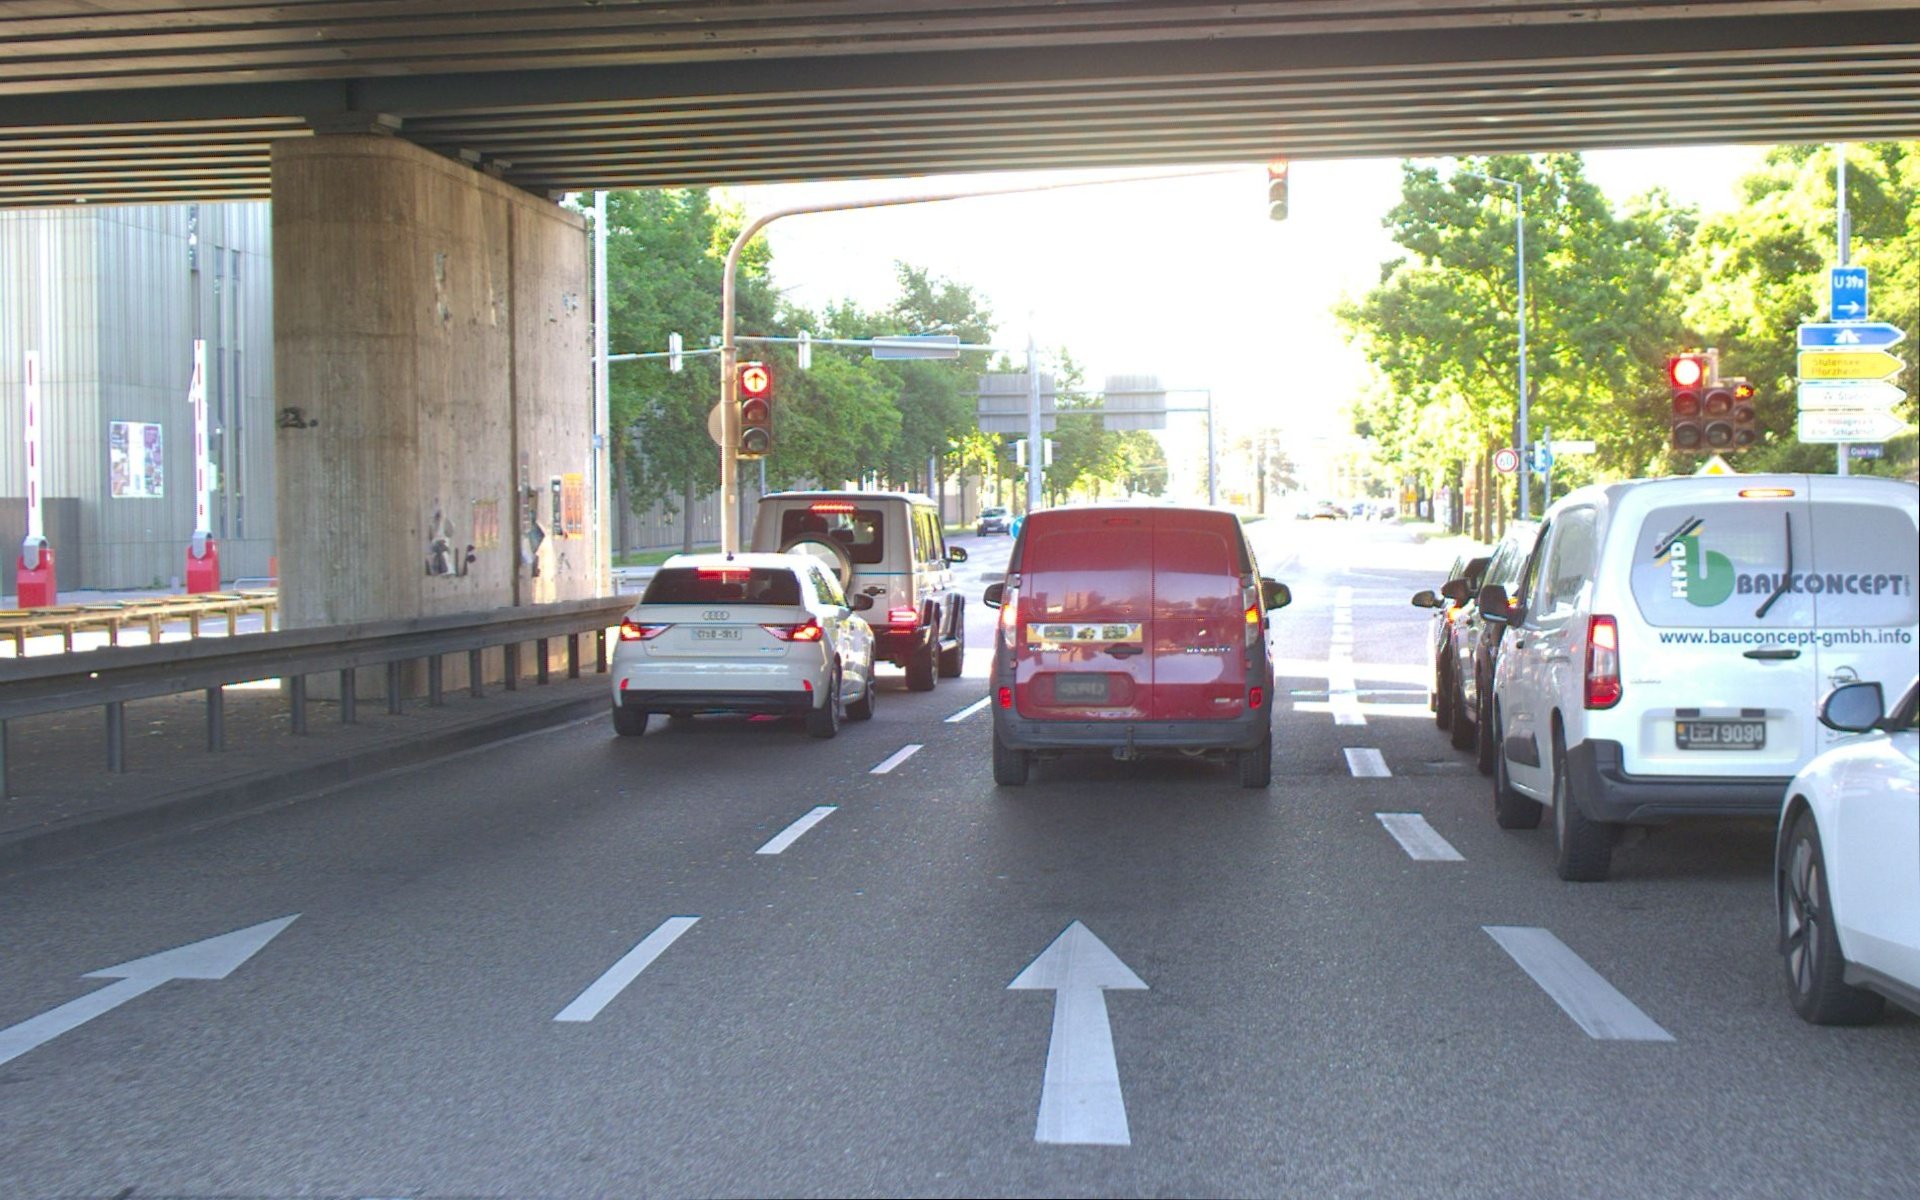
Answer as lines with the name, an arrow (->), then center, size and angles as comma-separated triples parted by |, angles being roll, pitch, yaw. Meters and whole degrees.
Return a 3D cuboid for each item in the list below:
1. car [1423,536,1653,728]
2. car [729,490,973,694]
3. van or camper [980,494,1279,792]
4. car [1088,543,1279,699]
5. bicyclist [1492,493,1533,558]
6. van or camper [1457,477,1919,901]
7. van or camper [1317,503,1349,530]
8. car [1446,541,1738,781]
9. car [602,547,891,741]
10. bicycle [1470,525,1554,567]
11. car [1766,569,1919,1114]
car -> 4.842, 0.227, 29.178 | 1.708, 1.515, 3.742 | 0, 1, 6
car -> -1.037, -0.112, 35.074 | 1.866, 1.940, 4.595 | 0, 1, 6
van or camper -> 1.210, 0.233, 22.872 | 1.754, 1.807, 3.958 | 0, 1, 6
car -> 2.336, 0.179, 35.068 | 1.763, 1.470, 4.288 | -1, 1, 6
bicyclist -> 13.728, -1.852, 85.413 | 0.923, 1.578, 0.769 | -3, 0, 10
van or camper -> 3.608, 0.352, 16.842 | 1.826, 1.785, 4.544 | 0, 1, 2
van or camper -> 26.517, -5.936, 244.260 | 1.786, 1.857, 3.906 | -3, 1, 12
car -> 4.280, 0.361, 23.725 | 1.708, 1.517, 3.742 | 0, 1, 6
car -> -1.640, 0.299, 27.614 | 1.708, 1.447, 3.742 | 0, 1, 6
bicycle -> 13.716, -1.339, 85.417 | 1.991, 0.957, 0.774 | -3, 0, 10
car -> 3.481, 0.672, 9.057 | 1.763, 1.470, 4.289 | 1, 1, 1
